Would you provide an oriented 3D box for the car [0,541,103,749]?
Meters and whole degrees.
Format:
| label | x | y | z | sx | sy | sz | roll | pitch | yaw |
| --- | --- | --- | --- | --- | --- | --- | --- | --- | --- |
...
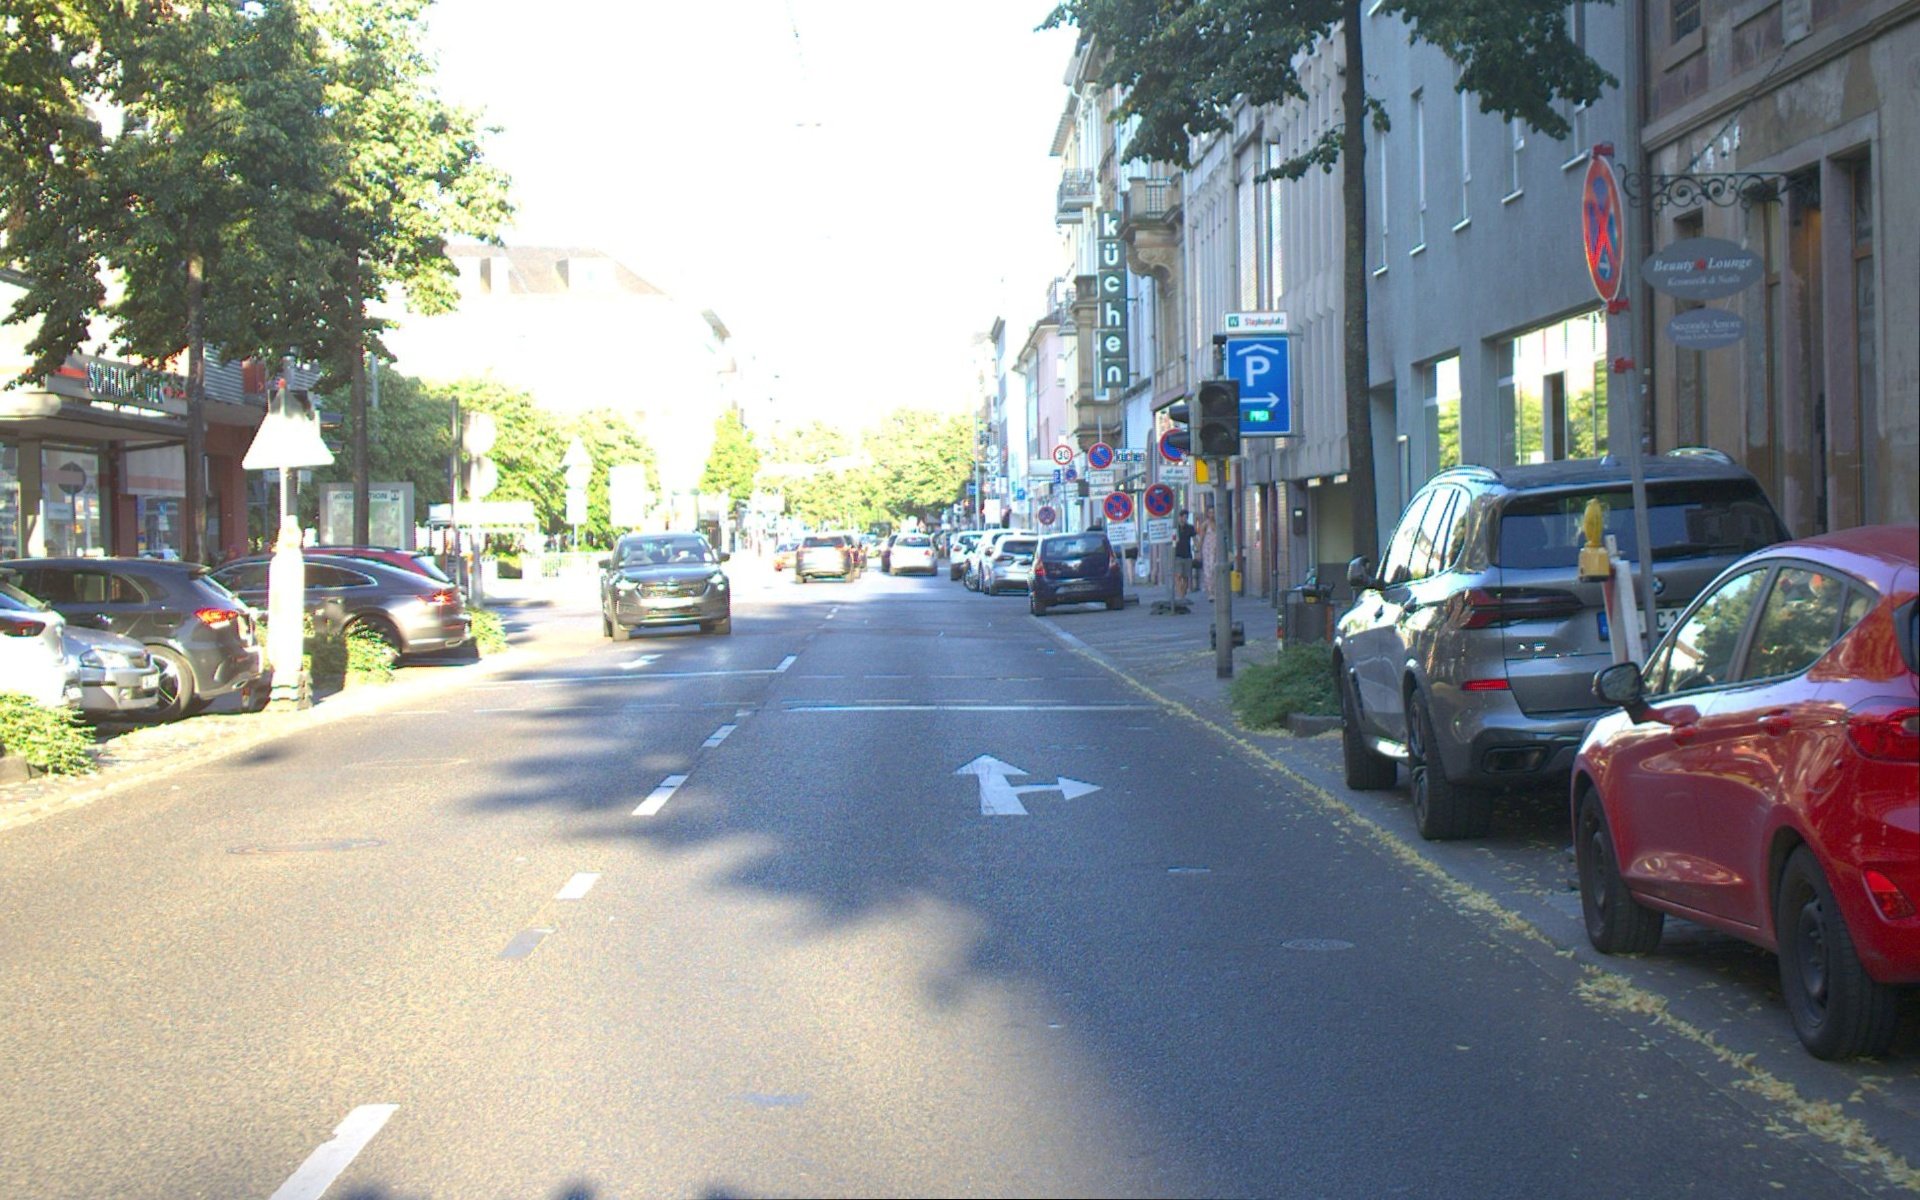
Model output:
| label | x | y | z | sx | sy | sz | roll | pitch | yaw |
| --- | --- | --- | --- | --- | --- | --- | --- | --- | --- |
| car | -8.238 | 0.294 | 24.752 | 3.737 | 1.439 | 1.806 | 0 | 1 | -3 |

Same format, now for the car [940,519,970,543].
| label | x | y | z | sx | sy | sz | roll | pitch | yaw |
| --- | --- | --- | --- | --- | --- | --- | --- | --- | --- |
| car | -0.338 | -4.742 | 236.804 | 1.896 | 1.575 | 3.852 | -2 | 1 | -1 |

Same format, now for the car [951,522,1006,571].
| label | x | y | z | sx | sy | sz | roll | pitch | yaw |
| --- | --- | --- | --- | --- | --- | --- | --- | --- | --- |
| car | 0.621 | -1.843 | 117.868 | 1.729 | 1.645 | 4.285 | 1 | 1 | -1 |

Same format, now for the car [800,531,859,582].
| label | x | y | z | sx | sy | sz | roll | pitch | yaw |
| --- | --- | --- | --- | --- | --- | --- | --- | --- | --- |
| car | -4.320 | -1.458 | 114.287 | 1.896 | 1.644 | 4.105 | 0 | 1 | -1 |

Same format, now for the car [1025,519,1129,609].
| label | x | y | z | sx | sy | sz | roll | pitch | yaw |
| --- | --- | --- | --- | --- | --- | --- | --- | --- | --- |
| car | 2.193 | -0.701 | 65.301 | 1.759 | 1.531 | 4.000 | -4 | 1 | 0 |

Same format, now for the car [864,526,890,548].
| label | x | y | z | sx | sy | sz | roll | pitch | yaw |
| --- | --- | --- | --- | --- | --- | --- | --- | --- | --- |
| car | -5.848 | -4.394 | 240.547 | 1.779 | 1.542 | 4.000 | 0 | 1 | -2 |

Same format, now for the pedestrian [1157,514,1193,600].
| label | x | y | z | sx | sy | sz | roll | pitch | yaw |
| --- | --- | --- | --- | --- | --- | --- | --- | --- | --- |
| pedestrian | 3.995 | -0.804 | 63.898 | 0.604 | 1.594 | 0.774 | -1 | 1 | -2 |

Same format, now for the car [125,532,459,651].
| label | x | y | z | sx | sy | sz | roll | pitch | yaw |
| --- | --- | --- | --- | --- | --- | --- | --- | --- | --- |
| car | -8.827 | -0.133 | 45.663 | 4.072 | 1.531 | 1.884 | 0 | 1 | -1 |

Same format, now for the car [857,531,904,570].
| label | x | y | z | sx | sy | sz | roll | pitch | yaw |
| --- | --- | --- | --- | --- | --- | --- | --- | --- | --- |
| car | -3.367 | -2.099 | 145.499 | 1.896 | 1.575 | 3.852 | 2 | 1 | -1 |

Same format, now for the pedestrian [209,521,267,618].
| label | x | y | z | sx | sy | sz | roll | pitch | yaw |
| --- | --- | --- | --- | --- | --- | --- | --- | --- | --- |
| pedestrian | -11.511 | -0.479 | 54.833 | 0.734 | 1.523 | 0.876 | 0 | 0 | -1 |

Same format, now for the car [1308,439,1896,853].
| label | x | y | z | sx | sy | sz | roll | pitch | yaw |
| --- | --- | --- | --- | --- | --- | --- | --- | --- | --- |
| car | 3.087 | 0.148 | 17.596 | 2.038 | 1.731 | 4.711 | -3 | 1 | 0 |

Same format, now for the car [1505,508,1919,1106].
| label | x | y | z | sx | sy | sz | roll | pitch | yaw |
| --- | --- | --- | --- | --- | --- | --- | --- | --- | --- |
| car | 3.039 | 0.477 | 10.850 | 1.729 | 1.482 | 3.901 | -3 | 1 | -3 |

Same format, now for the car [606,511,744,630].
| label | x | y | z | sx | sy | sz | roll | pitch | yaw |
| --- | --- | --- | --- | --- | --- | --- | --- | --- | --- |
| car | -4.441 | -0.505 | 54.131 | 1.861 | 1.686 | 4.461 | -1 | 2 | -1 |

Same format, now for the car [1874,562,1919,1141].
| label | x | y | z | sx | sy | sz | roll | pitch | yaw |
| --- | --- | --- | --- | --- | --- | --- | --- | --- | --- |
| car | 3.368 | 0.600 | 6.232 | 1.951 | 1.385 | 4.425 | -3 | 1 | -3 |

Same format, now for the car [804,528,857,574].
| label | x | y | z | sx | sy | sz | roll | pitch | yaw |
| --- | --- | --- | --- | --- | --- | --- | --- | --- | --- |
| car | -4.722 | -1.811 | 125.883 | 1.896 | 1.644 | 4.105 | 0 | 1 | -2 |

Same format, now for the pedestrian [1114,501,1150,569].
| label | x | y | z | sx | sy | sz | roll | pitch | yaw |
| --- | --- | --- | --- | --- | --- | --- | --- | --- | --- |
| pedestrian | 4.470 | -1.691 | 89.314 | 0.772 | 1.705 | 1.042 | -3 | 1 | -1 |

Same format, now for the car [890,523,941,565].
| label | x | y | z | sx | sy | sz | roll | pitch | yaw |
| --- | --- | --- | --- | --- | --- | --- | --- | --- | --- |
| car | -1.717 | -2.145 | 132.145 | 1.896 | 1.575 | 4.000 | 1 | 1 | -1 |

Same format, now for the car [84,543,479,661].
| label | x | y | z | sx | sy | sz | roll | pitch | yaw |
| --- | --- | --- | --- | --- | --- | --- | --- | --- | --- |
| car | -8.353 | 0.012 | 42.619 | 4.570 | 1.403 | 1.822 | 0 | 1 | -2 |

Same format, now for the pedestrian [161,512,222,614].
| label | x | y | z | sx | sy | sz | roll | pitch | yaw |
| --- | --- | --- | --- | --- | --- | --- | --- | --- | --- |
| pedestrian | -12.214 | -0.579 | 54.666 | 0.772 | 1.602 | 0.876 | 0 | 0 | -1 |

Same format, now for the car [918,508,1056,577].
| label | x | y | z | sx | sy | sz | roll | pitch | yaw |
| --- | --- | --- | --- | --- | --- | --- | --- | --- | --- |
| car | 0.690 | -1.521 | 91.466 | 1.993 | 1.755 | 4.467 | -2 | 1 | -23 |

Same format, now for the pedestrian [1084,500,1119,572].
| label | x | y | z | sx | sy | sz | roll | pitch | yaw |
| --- | --- | --- | --- | --- | --- | --- | --- | --- | --- |
| pedestrian | 3.677 | -1.661 | 89.297 | 0.772 | 1.821 | 1.011 | -3 | 1 | -1 |

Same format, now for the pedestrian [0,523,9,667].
| label | x | y | z | sx | sy | sz | roll | pitch | yaw |
| --- | --- | --- | --- | --- | --- | --- | --- | --- | --- |
| pedestrian | -11.828 | -0.058 | 40.892 | 0.772 | 1.715 | 0.876 | 0 | 0 | -1 |

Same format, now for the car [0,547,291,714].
| label | x | y | z | sx | sy | sz | roll | pitch | yaw |
| --- | --- | --- | --- | --- | --- | --- | --- | --- | --- |
| car | -8.045 | 0.245 | 30.005 | 4.106 | 1.398 | 1.884 | 0 | 1 | -3 |

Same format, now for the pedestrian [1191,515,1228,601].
| label | x | y | z | sx | sy | sz | roll | pitch | yaw |
| --- | --- | --- | --- | --- | --- | --- | --- | --- | --- |
| pedestrian | 4.642 | -0.788 | 64.031 | 0.604 | 1.594 | 0.774 | -1 | 1 | -2 |

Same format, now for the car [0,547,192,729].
| label | x | y | z | sx | sy | sz | roll | pitch | yaw |
| --- | --- | --- | --- | --- | --- | --- | --- | --- | --- |
| car | -8.479 | 0.300 | 27.782 | 4.097 | 1.398 | 1.843 | -1 | 1 | 1 |

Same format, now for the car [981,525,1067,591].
| label | x | y | z | sx | sy | sz | roll | pitch | yaw |
| --- | --- | --- | --- | --- | --- | --- | --- | --- | --- |
| car | 1.528 | -1.026 | 83.929 | 1.759 | 1.531 | 4.822 | 1 | 0 | -3 |
